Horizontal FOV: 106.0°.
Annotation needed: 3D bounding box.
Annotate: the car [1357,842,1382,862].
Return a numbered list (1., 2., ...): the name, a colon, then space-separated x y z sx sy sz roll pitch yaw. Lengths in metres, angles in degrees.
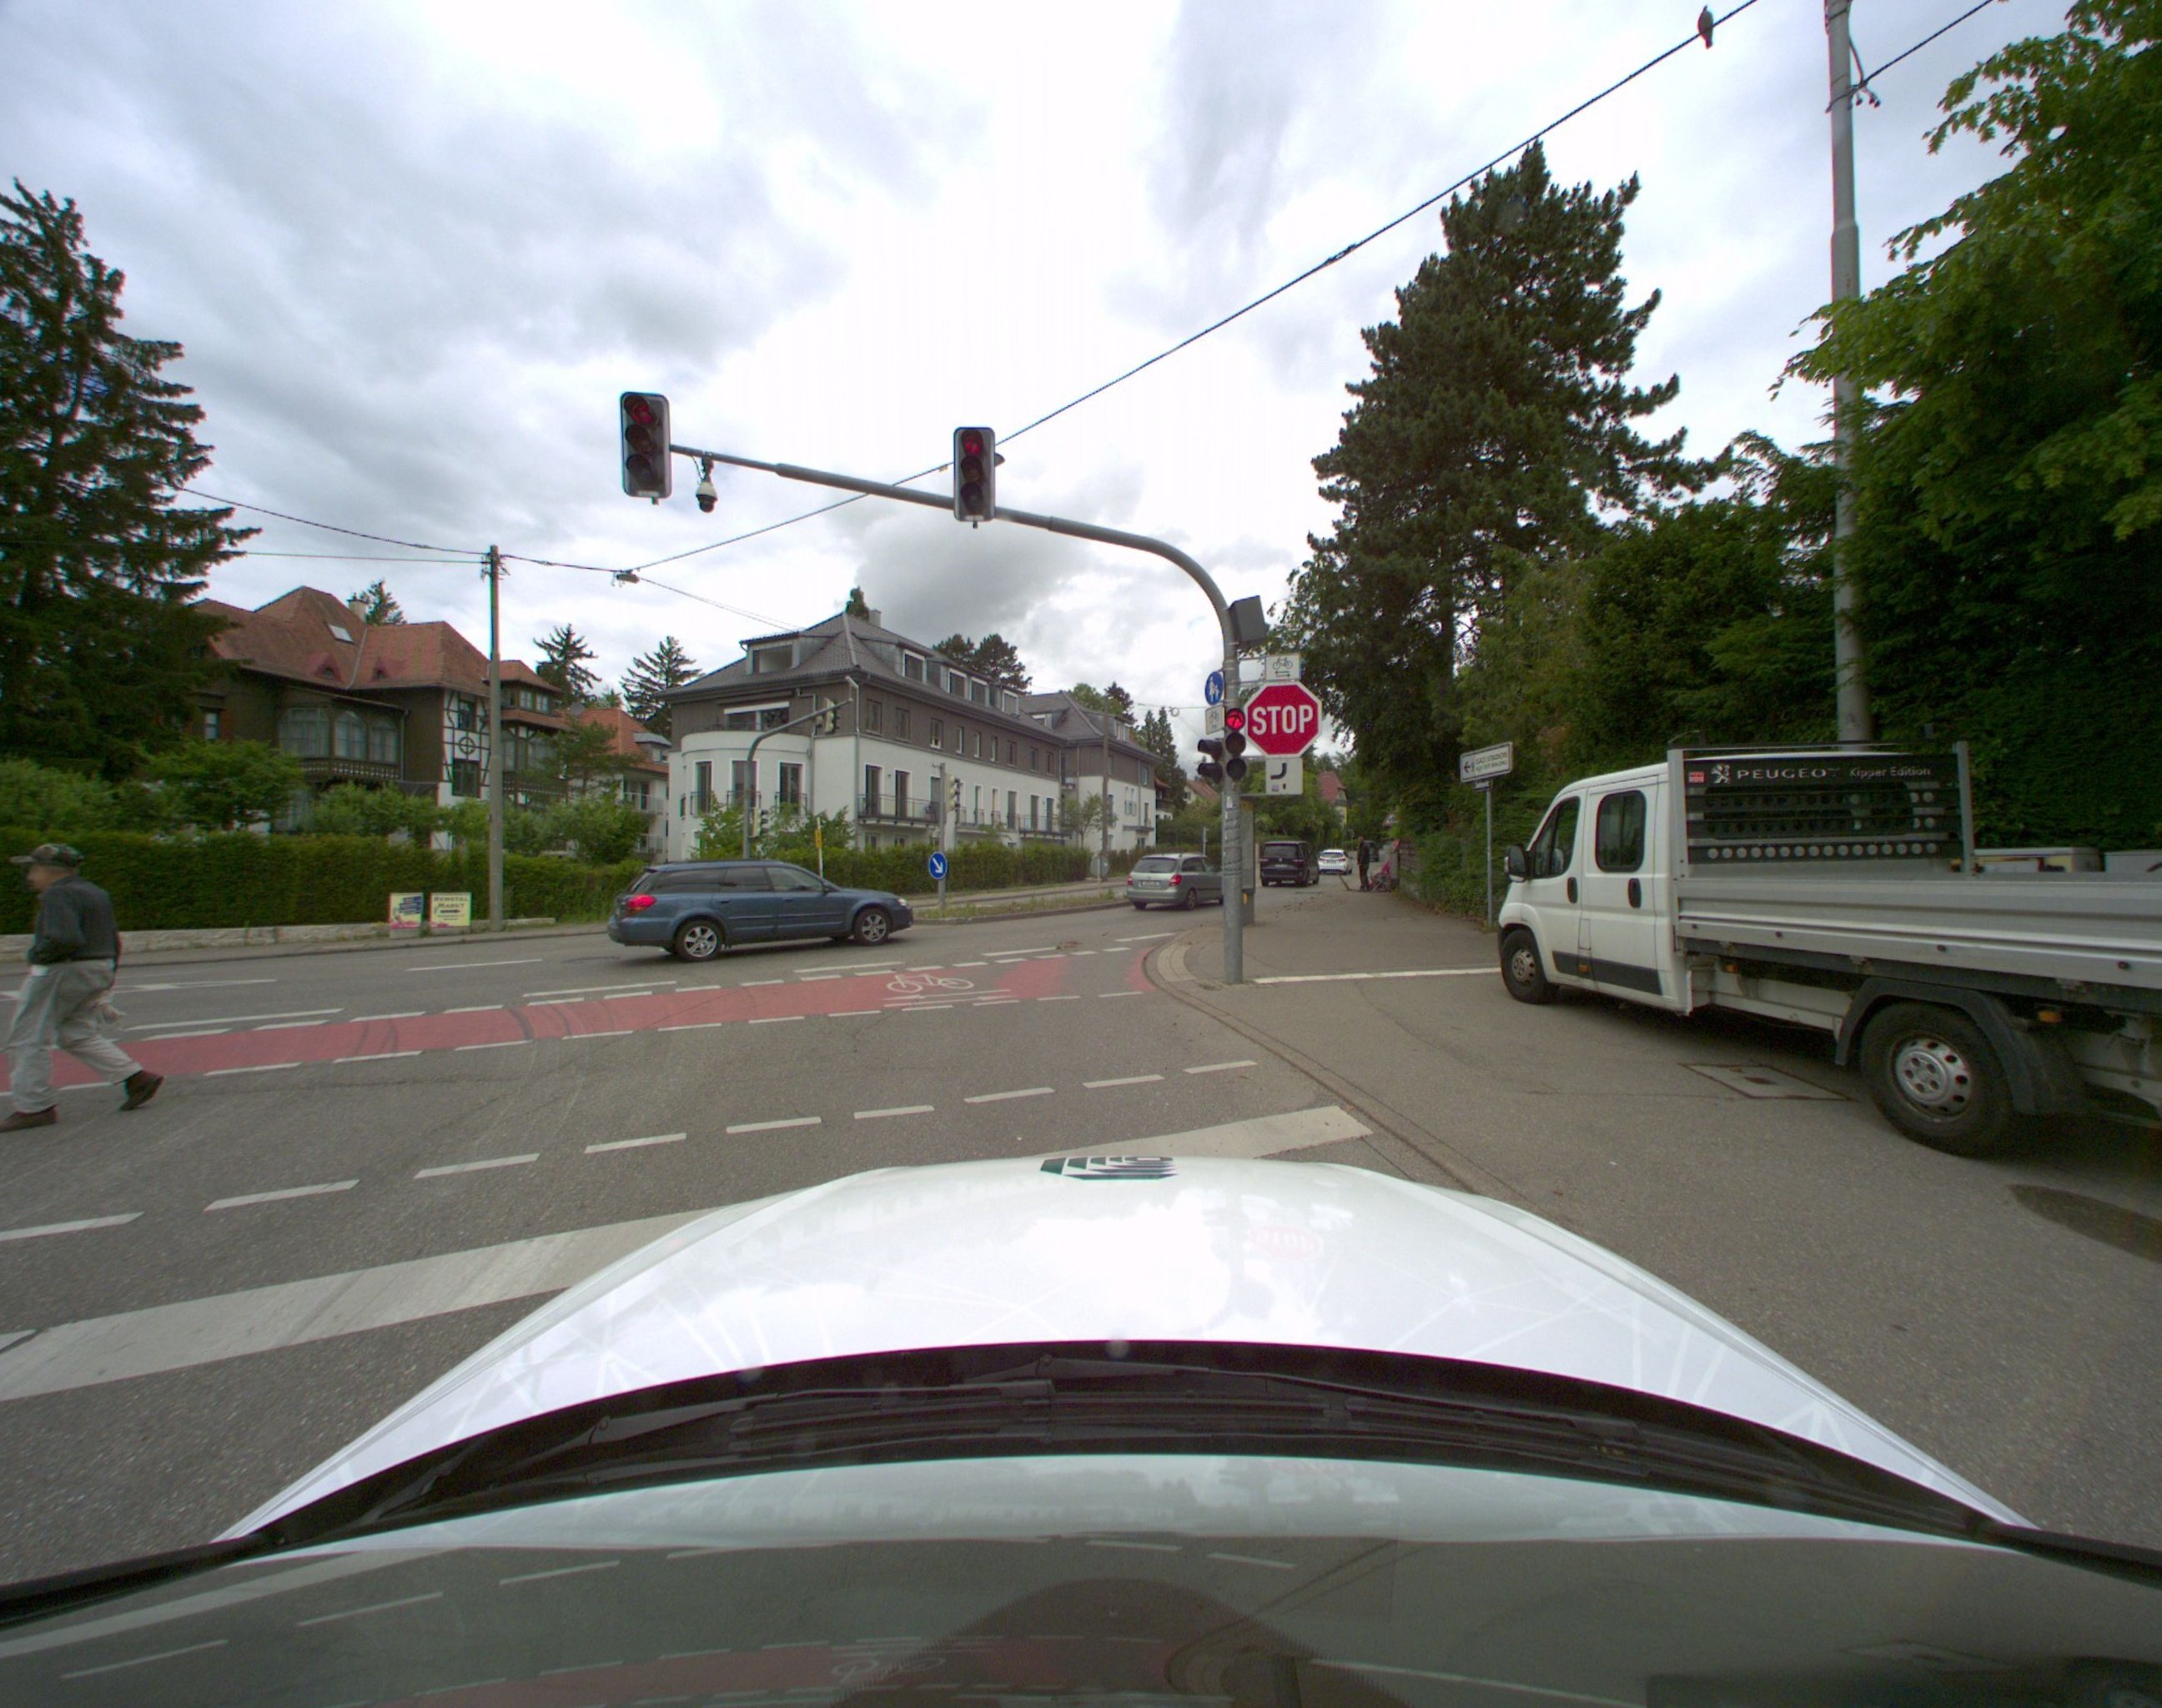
1. car: 27.986 -0.241 78.895 1.922 1.825 4.101 1 1 24

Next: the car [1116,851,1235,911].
1. car: 2.665 0.684 22.251 1.677 1.430 3.772 -2 0 33

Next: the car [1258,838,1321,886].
1. car: 9.081 0.296 35.149 1.902 1.894 4.935 1 1 23

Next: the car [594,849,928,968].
1. car: -5.083 0.756 13.291 4.764 1.527 1.786 -2 0 -36

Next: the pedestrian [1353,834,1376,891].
1. pedestrian: 9.673 0.289 27.805 0.594 1.907 0.559 0 0 2

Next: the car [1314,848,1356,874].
1. car: 14.983 0.383 48.002 1.824 1.459 4.101 1 1 25

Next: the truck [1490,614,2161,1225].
1. truck: 5.227 0.240 5.630 2.198 2.243 5.728 0 0 3

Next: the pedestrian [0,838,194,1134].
1. pedestrian: -6.063 0.739 4.944 0.743 1.633 0.676 -3 1 -37

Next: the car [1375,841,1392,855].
1. car: 41.469 -0.851 111.770 1.922 1.825 4.101 1 1 24
